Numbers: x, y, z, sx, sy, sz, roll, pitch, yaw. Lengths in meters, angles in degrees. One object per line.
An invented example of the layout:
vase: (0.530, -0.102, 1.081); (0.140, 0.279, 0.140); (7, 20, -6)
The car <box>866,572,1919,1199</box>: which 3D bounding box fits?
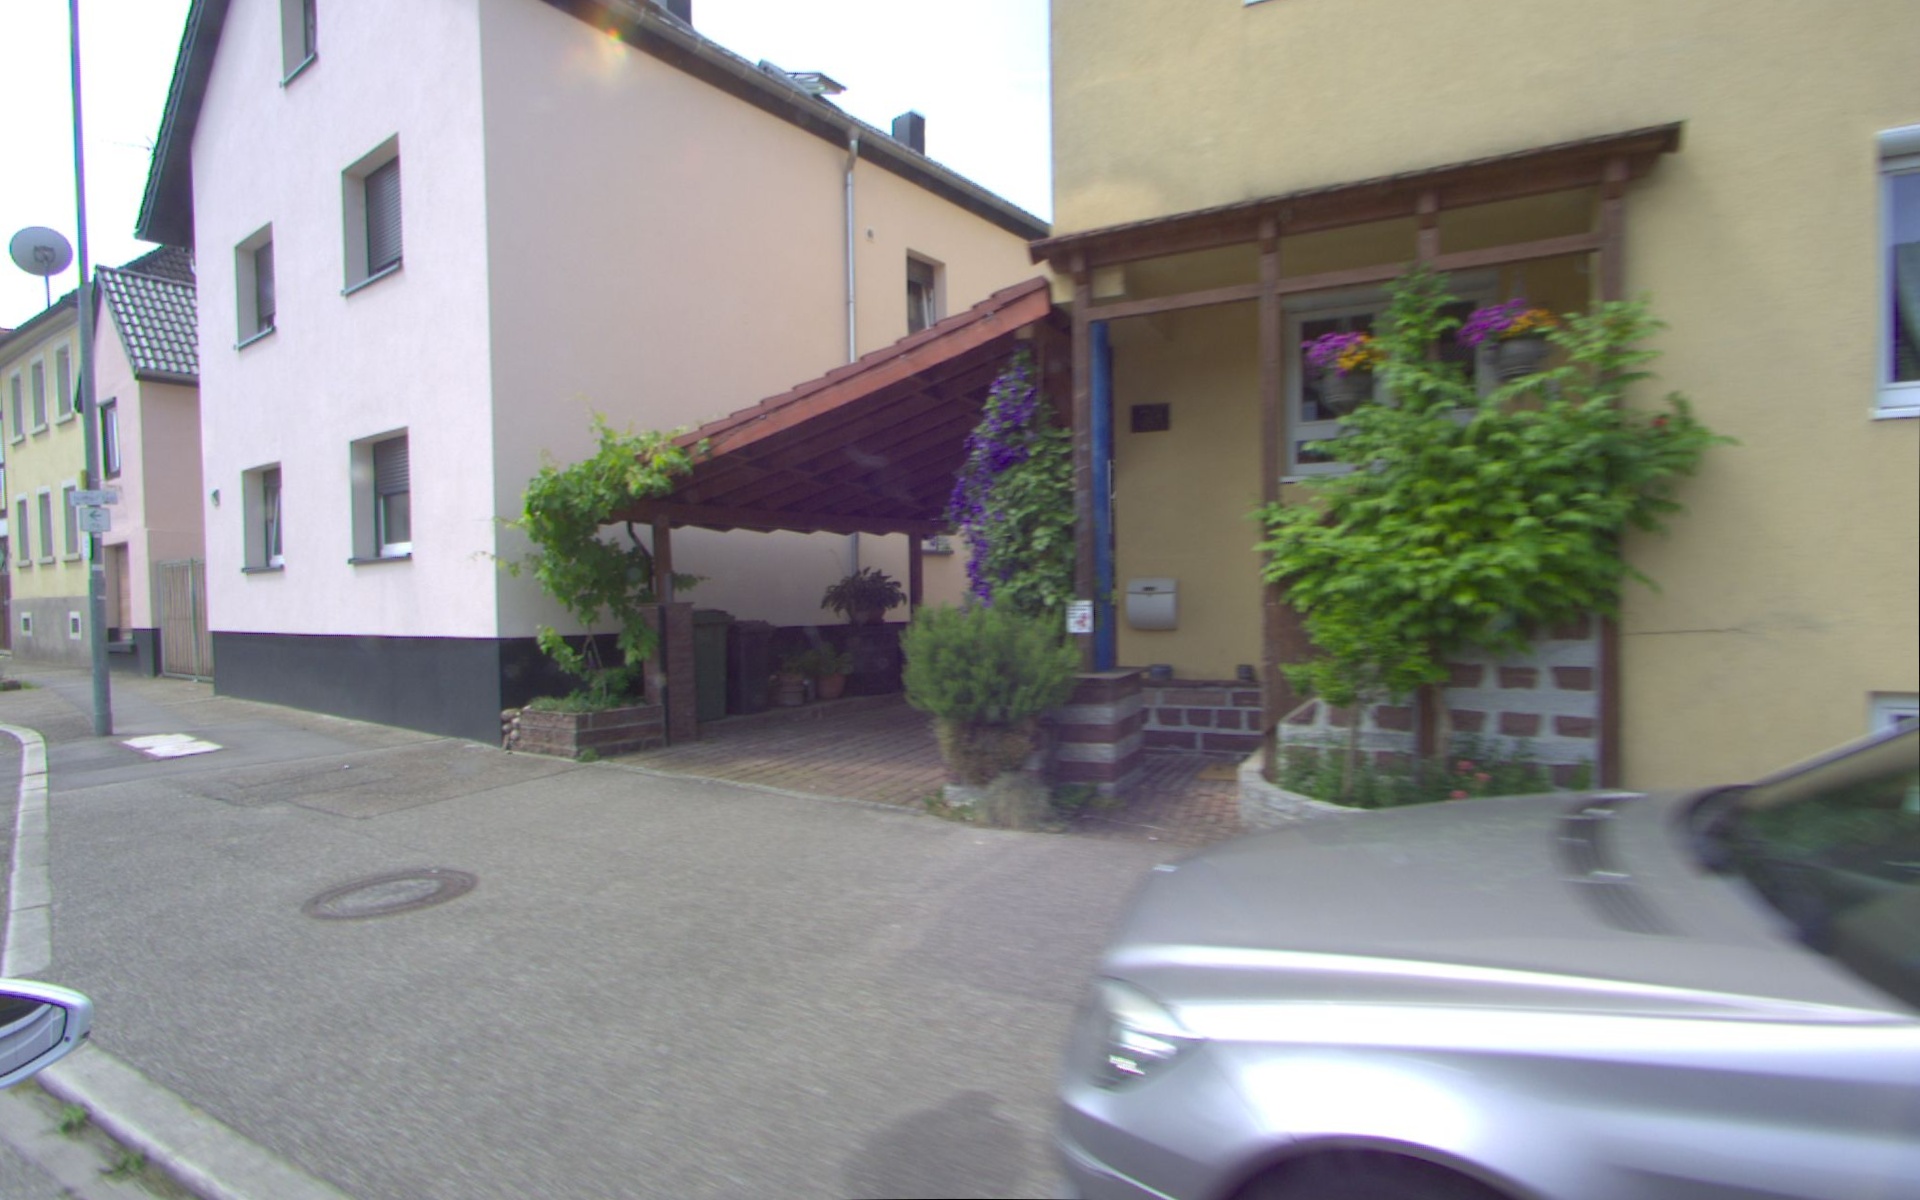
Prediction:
car: (2.182, 0.674, 1.439); (4.360, 1.419, 1.766); (-2, 2, 30)
